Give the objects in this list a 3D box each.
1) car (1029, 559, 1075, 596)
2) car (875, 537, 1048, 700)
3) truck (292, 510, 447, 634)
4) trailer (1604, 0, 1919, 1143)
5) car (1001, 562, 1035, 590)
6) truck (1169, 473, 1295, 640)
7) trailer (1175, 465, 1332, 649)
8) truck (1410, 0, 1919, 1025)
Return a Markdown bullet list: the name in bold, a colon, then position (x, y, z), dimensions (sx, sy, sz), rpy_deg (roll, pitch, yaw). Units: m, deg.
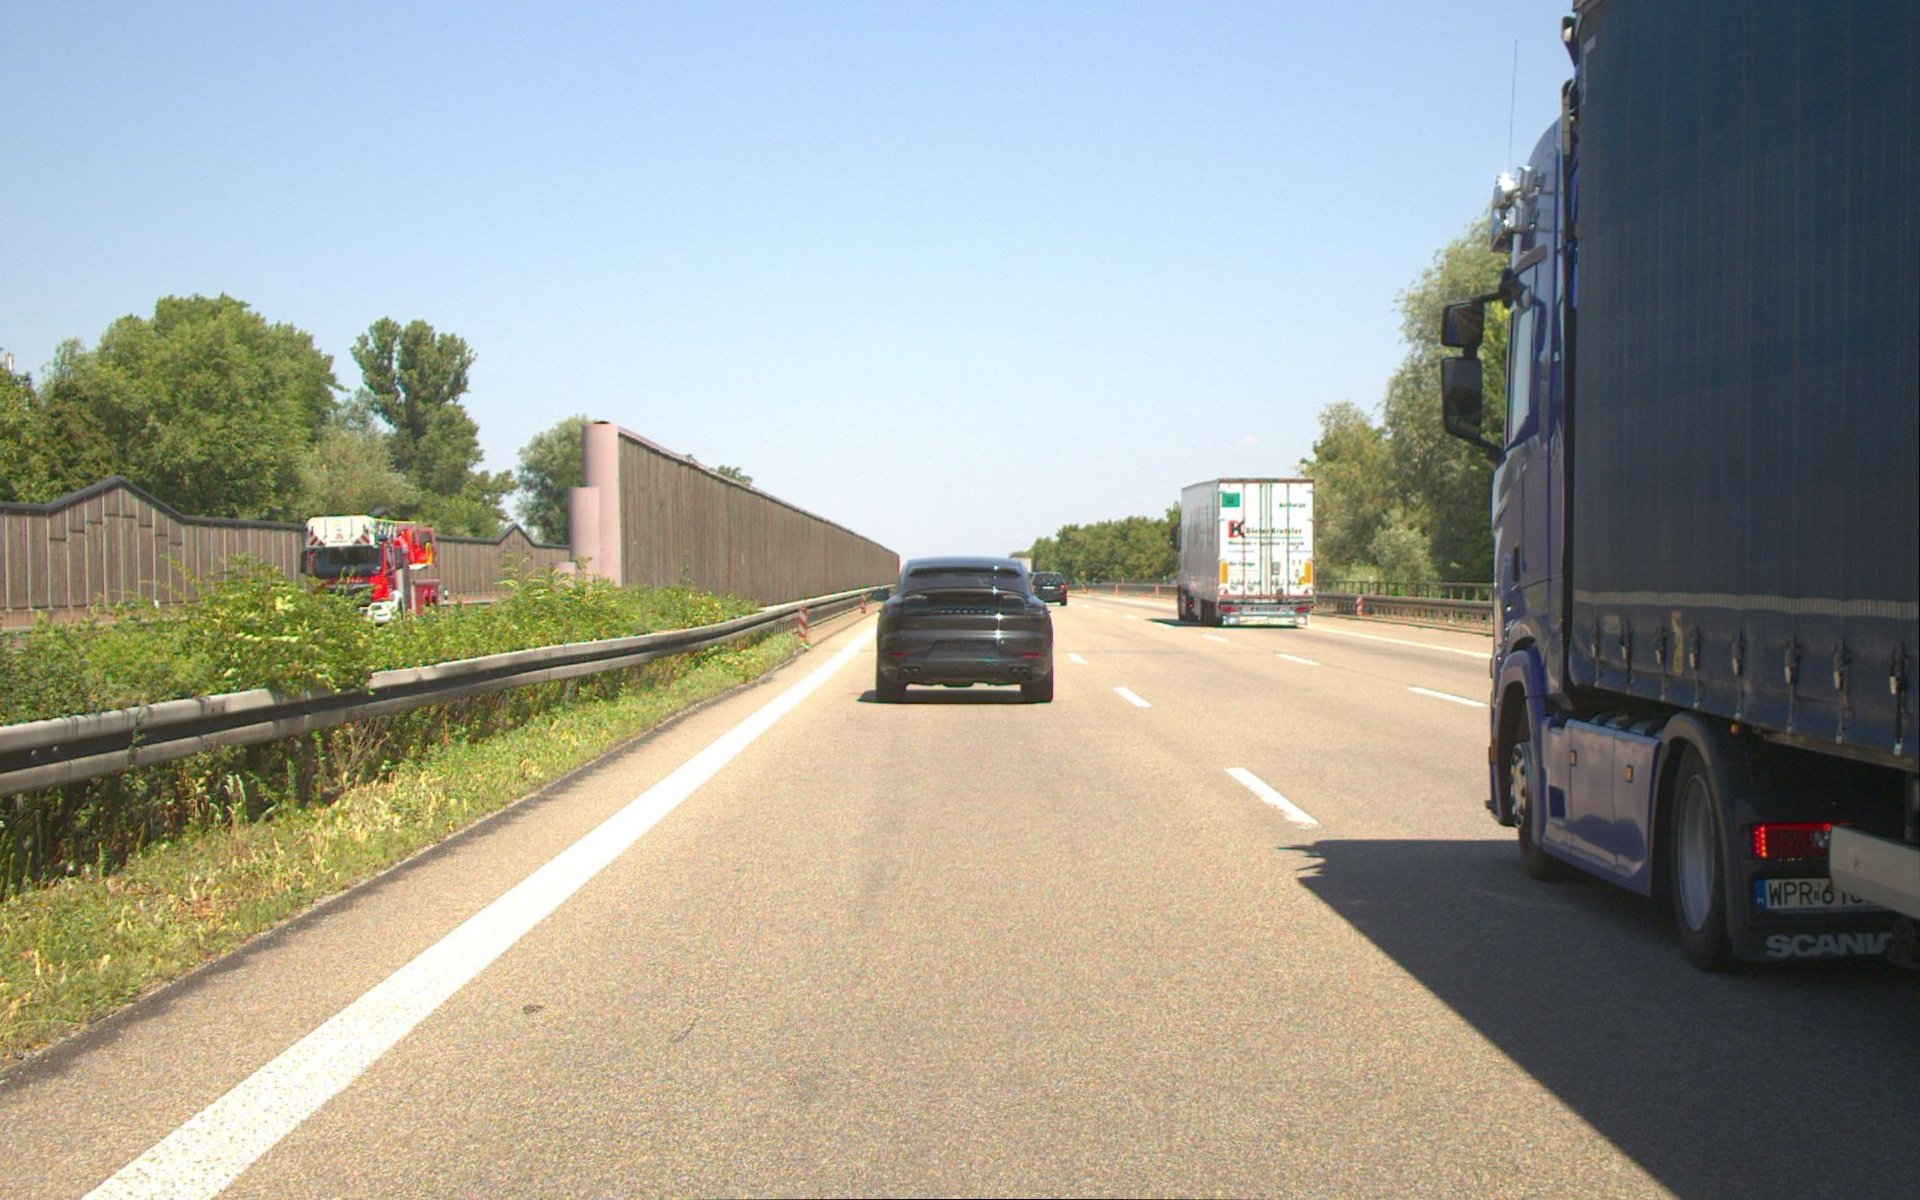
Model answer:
- **car**: position (4.024, -0.975, 150.626), dimensions (1.903, 1.578, 4.304), rpy_deg (-1, 0, 0)
- **car**: position (-0.032, 0.180, 39.623), dimensions (1.880, 1.786, 4.000), rpy_deg (0, 1, -2)
- **truck**: position (-17.520, -0.839, 102.689), dimensions (2.699, 3.480, 10.854), rpy_deg (1, 0, 0)
- **trailer**: position (4.018, -0.539, 7.601), dimensions (2.700, 4.104, 12.132), rpy_deg (1, 0, -1)
- **car**: position (3.431, -1.437, 203.567), dimensions (1.903, 1.578, 4.304), rpy_deg (-1, 0, 0)
- **truck**: position (8.203, -1.316, 104.460), dimensions (3.234, 4.872, 6.972), rpy_deg (1, 0, 0)
- **trailer**: position (8.163, -1.190, 97.428), dimensions (3.269, 4.821, 14.029), rpy_deg (1, 0, 0)
- **truck**: position (3.890, -0.618, 15.275), dimensions (2.700, 4.104, 6.991), rpy_deg (1, 0, -1)
